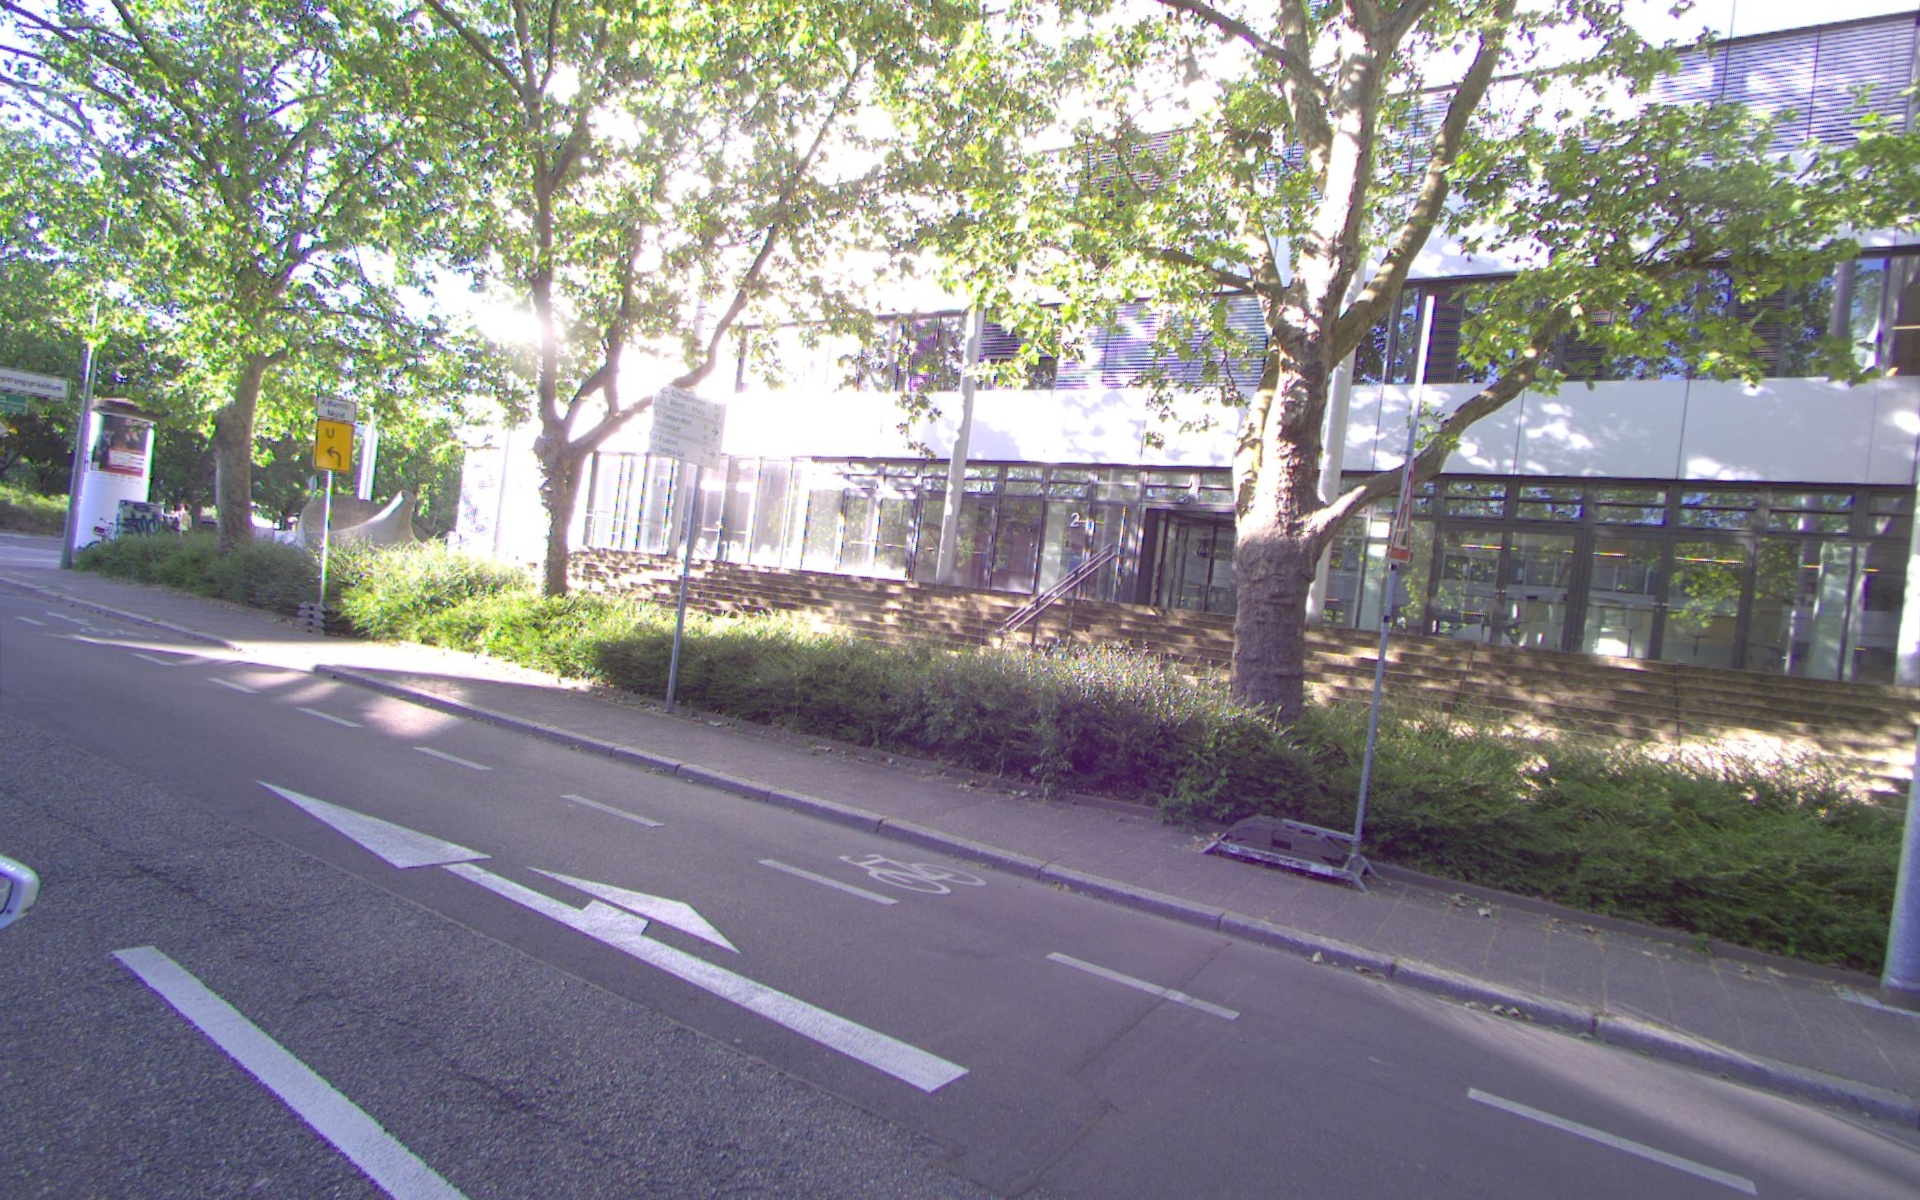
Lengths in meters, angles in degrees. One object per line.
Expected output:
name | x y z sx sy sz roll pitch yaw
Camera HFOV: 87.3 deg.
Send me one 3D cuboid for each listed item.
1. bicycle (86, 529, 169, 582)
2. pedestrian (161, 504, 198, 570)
bicycle | -19.164 -1.008 23.174 0.357 1.036 1.354 7 -1 33
pedestrian | -23.403 -1.892 30.164 0.584 1.871 0.552 7 0 33
